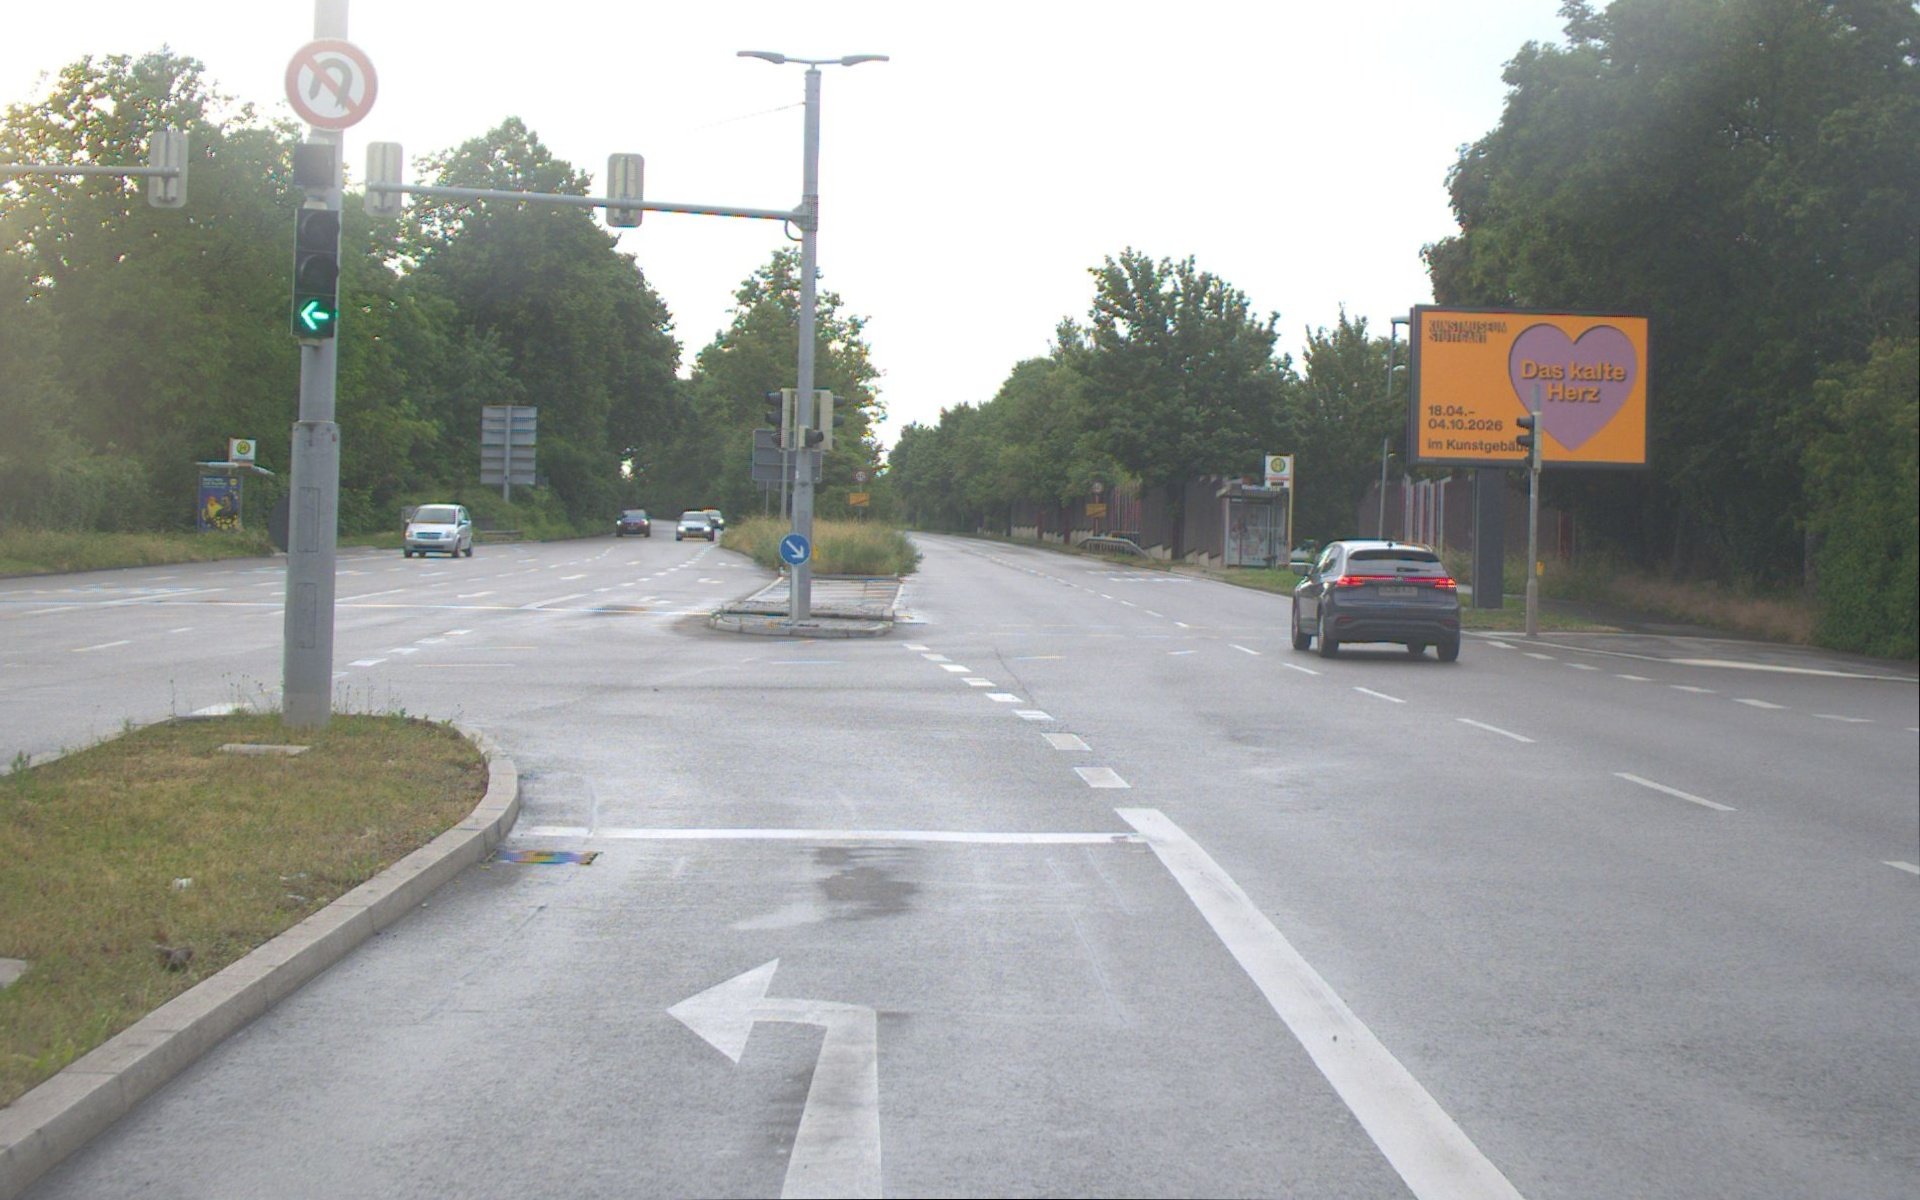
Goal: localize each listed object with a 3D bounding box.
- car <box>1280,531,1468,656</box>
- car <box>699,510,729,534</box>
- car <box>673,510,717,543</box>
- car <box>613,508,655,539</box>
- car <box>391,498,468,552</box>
[{"bbox_3d":[5.245,-0.121,44.053,1.744,1.465,4.166,2,1,-2],"label":"car"},{"bbox_3d":[-17.485,-5.561,244.882,1.893,1.590,4.489,2,1,-2],"label":"car"},{"bbox_3d":[-13.047,-3.636,169.674,1.893,1.529,4.489,2,1,-2],"label":"car"},{"bbox_3d":[-17.578,-4.110,185.549,1.893,1.590,4.489,2,1,-2],"label":"car"},{"bbox_3d":[-16.388,-2.316,106.363,1.768,1.590,4.489,2,1,-2],"label":"car"}]
